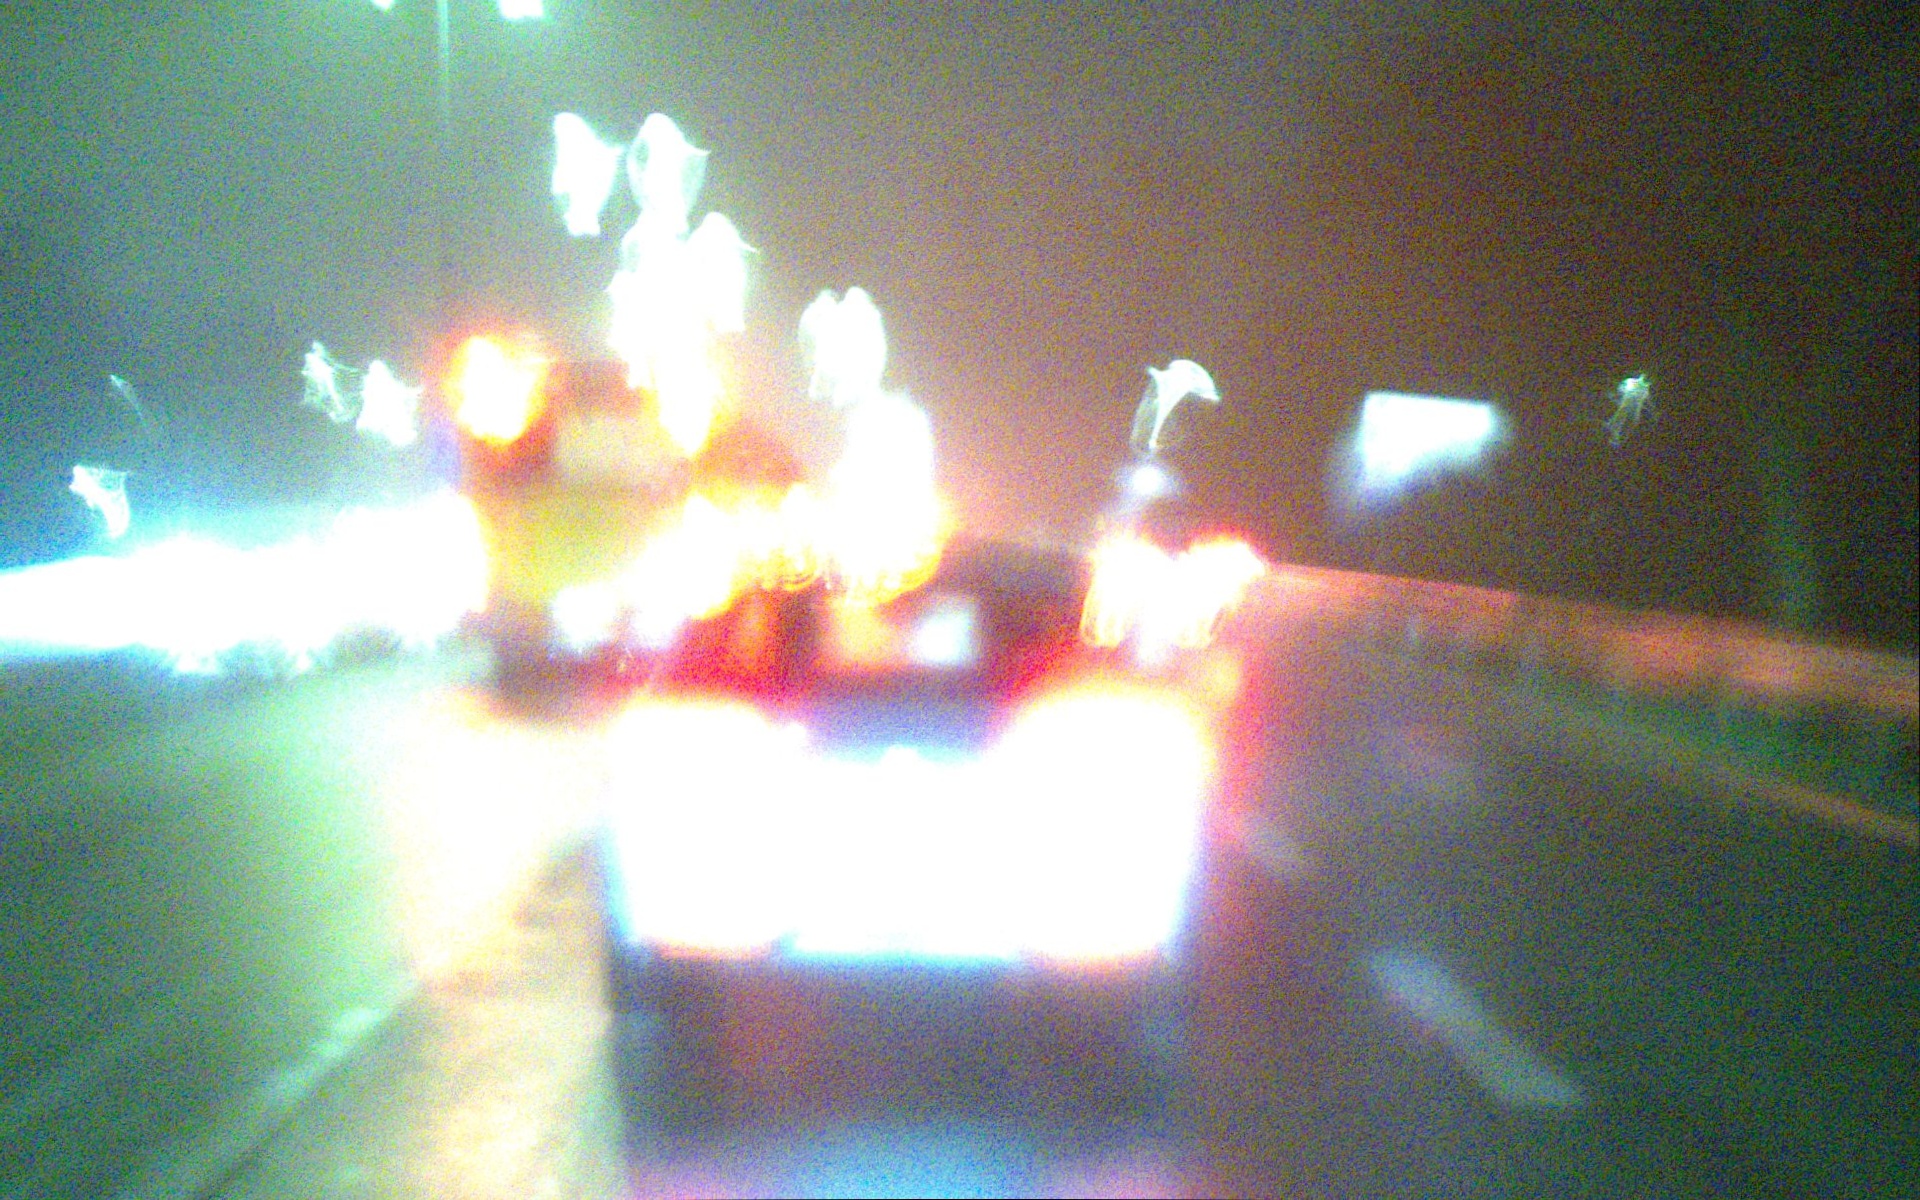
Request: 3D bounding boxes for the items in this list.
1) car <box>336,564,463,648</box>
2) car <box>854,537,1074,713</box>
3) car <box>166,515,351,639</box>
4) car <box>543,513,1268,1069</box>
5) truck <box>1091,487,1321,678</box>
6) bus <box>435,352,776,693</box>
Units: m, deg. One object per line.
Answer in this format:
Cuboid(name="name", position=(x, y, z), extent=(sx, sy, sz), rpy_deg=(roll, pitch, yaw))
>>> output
Cuboid(name="car", position=(-12.515, 0.133, 77.076), extent=(2.165, 1.768, 4.705), rpy_deg=(2, 0, -2))
Cuboid(name="car", position=(0.030, 0.183, 30.518), extent=(1.822, 1.456, 3.716), rpy_deg=(1, 1, 0))
Cuboid(name="car", position=(-10.823, -0.343, 53.360), extent=(1.993, 1.768, 4.705), rpy_deg=(2, 0, -2))
Cuboid(name="car", position=(-0.162, 0.492, 11.149), extent=(1.944, 1.486, 3.716), rpy_deg=(1, 1, 0))
Cuboid(name="truck", position=(3.538, -0.233, 50.661), extent=(3.070, 2.520, 7.166), rpy_deg=(2, 0, 3))
Cuboid(name="bus", position=(-3.574, -0.837, 36.846), extent=(2.743, 3.112, 9.202), rpy_deg=(2, 1, -1))
